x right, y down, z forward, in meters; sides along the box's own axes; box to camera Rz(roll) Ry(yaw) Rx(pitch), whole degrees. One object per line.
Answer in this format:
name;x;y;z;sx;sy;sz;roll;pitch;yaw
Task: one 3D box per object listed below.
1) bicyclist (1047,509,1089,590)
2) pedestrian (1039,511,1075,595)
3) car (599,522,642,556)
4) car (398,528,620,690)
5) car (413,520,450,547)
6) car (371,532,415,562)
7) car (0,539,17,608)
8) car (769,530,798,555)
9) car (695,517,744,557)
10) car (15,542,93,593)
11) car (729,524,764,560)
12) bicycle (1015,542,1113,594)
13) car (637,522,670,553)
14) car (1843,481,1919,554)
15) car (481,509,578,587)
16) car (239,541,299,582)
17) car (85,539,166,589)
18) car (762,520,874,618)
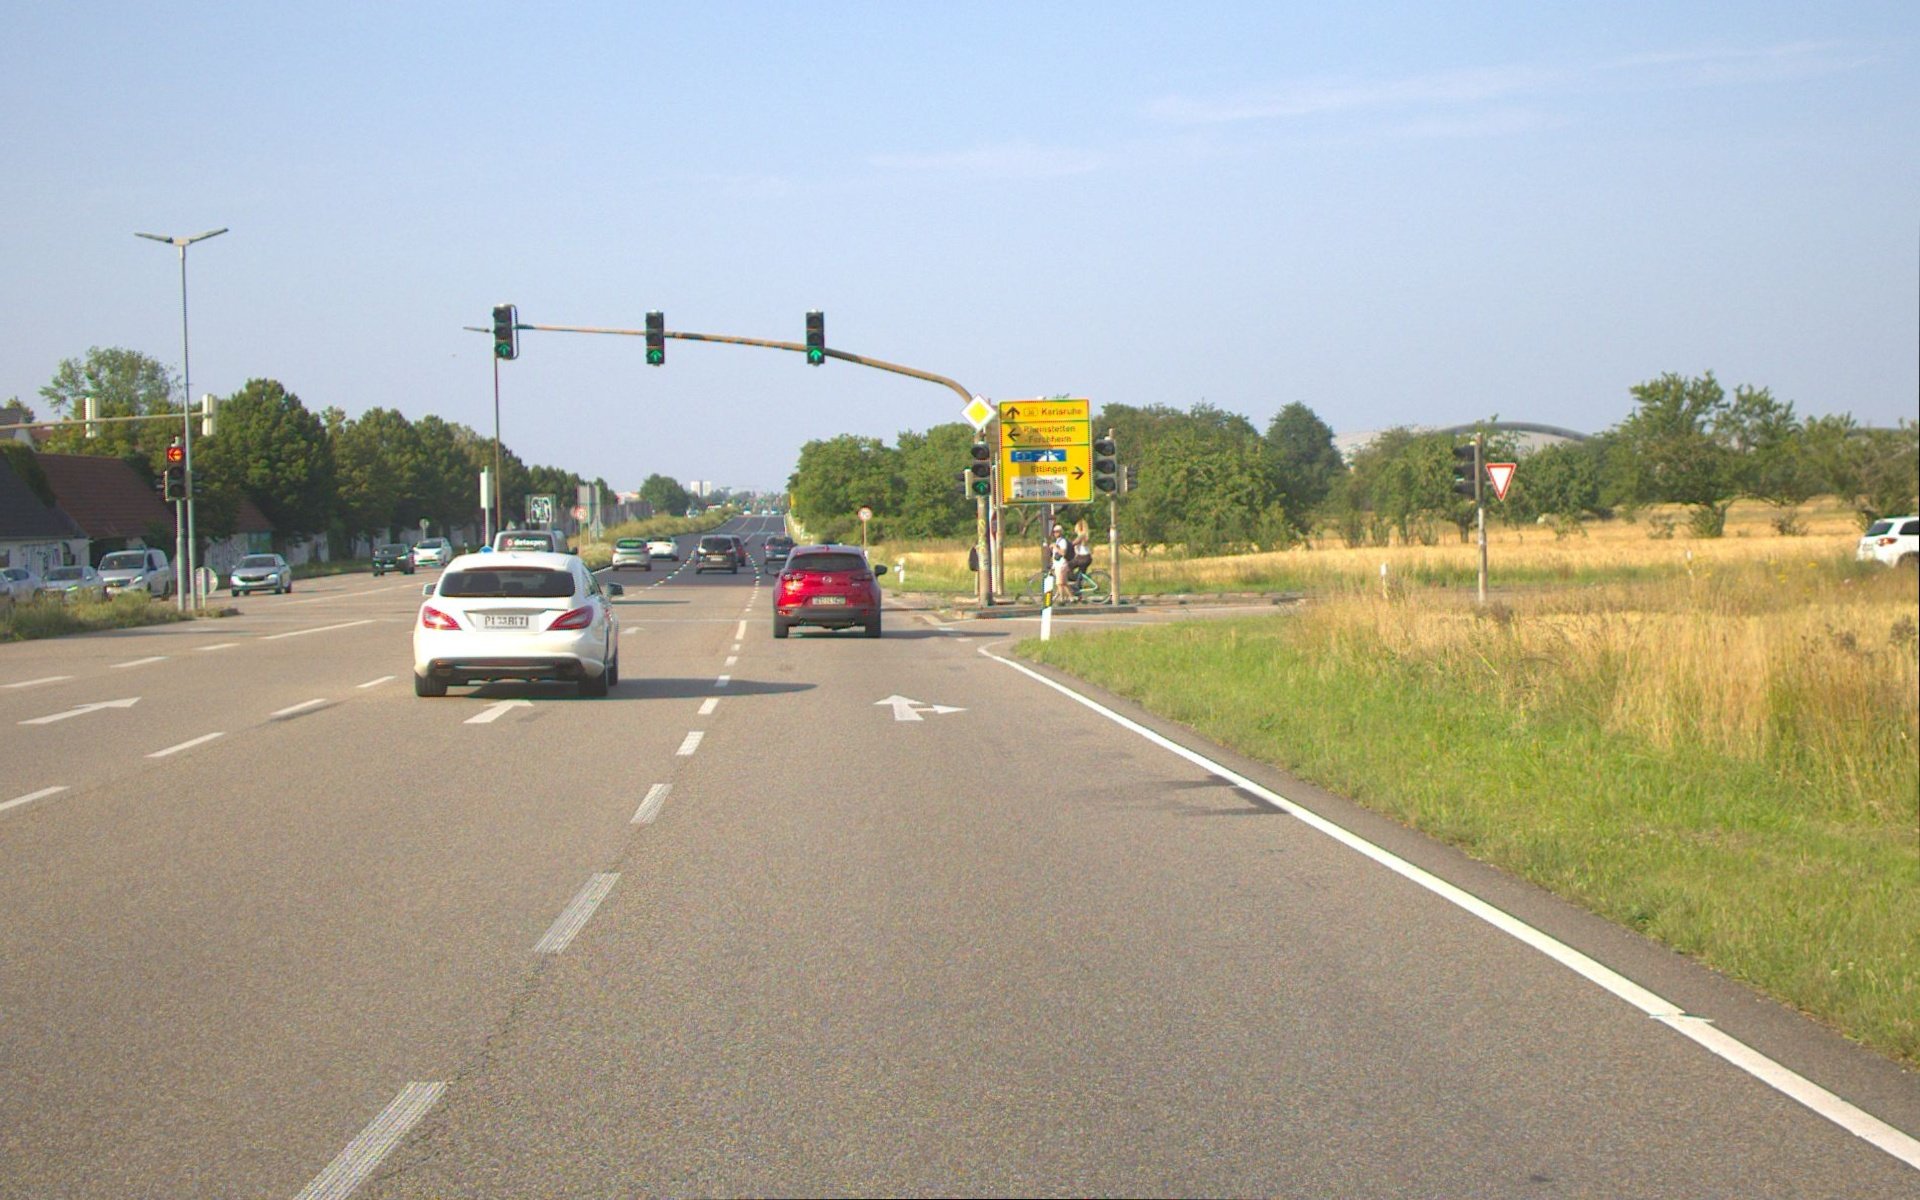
bicyclist;2.330;-1.094;74.249;0.848;1.750;0.799;1;1;-1
pedestrian;2.044;-0.992;72.472;0.710;1.745;0.863;1;1;-1
car;-15.330;-2.774;155.453;1.717;1.487;3.585;1;1;-2
car;-4.474;0.044;34.604;1.894;1.503;4.001;0;1;-3
car;-31.159;-3.948;202.725;1.734;1.568;3.704;1;1;-3
car;-29.348;-2.740;177.999;1.993;1.492;4.001;0;1;-6
car;-23.519;-0.606;80.509;1.722;1.623;4.658;1;1;-2
car;-9.052;-2.951;176.088;1.439;1.279;2.915;1;1;-2
car;-10.292;-2.728;147.448;1.839;1.678;4.000;1;1;0
car;-29.797;-1.094;113.143;1.889;1.612;3.857;0;1;-6
car;-10.515;-2.868;169.367;1.710;1.730;3.868;0;1;-3
bicycle;2.238;-0.689;74.274;2.096;1.085;0.808;1;1;1
car;-16.851;-3.432;188.941;1.775;1.660;3.664;0;1;-6
car;22.045;-1.836;76.945;3.986;1.592;1.861;0;1;-5
car;-11.042;-1.363;88.551;2.025;1.885;4.959;1;2;-2
car;-25.339;-1.437;126.153;1.783;1.432;4.358;0;1;-6
car;-29.308;-1.272;120.865;1.997;1.681;4.576;0;1;-3
car;-2.332;-0.536;56.790;1.754;1.511;4.001;-1;1;-2
